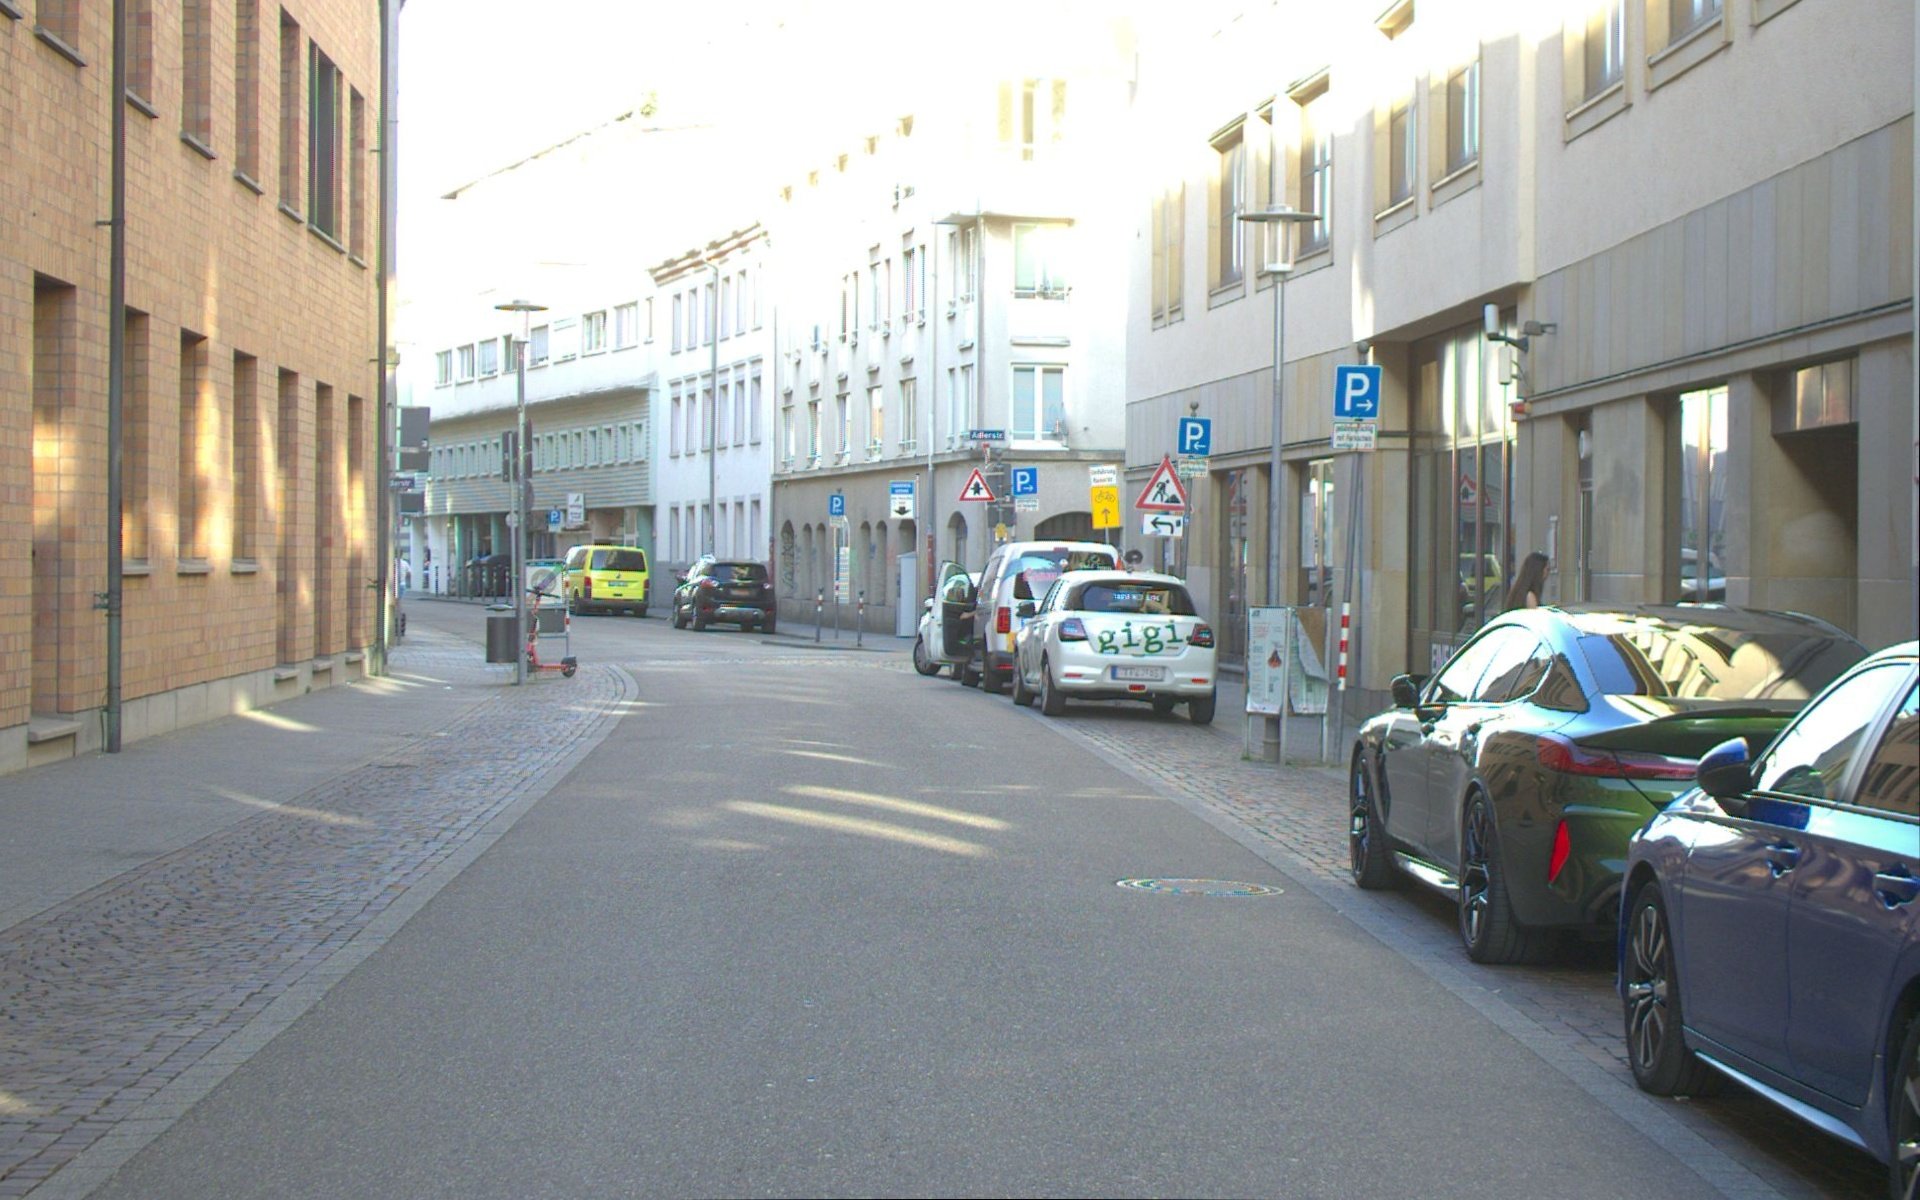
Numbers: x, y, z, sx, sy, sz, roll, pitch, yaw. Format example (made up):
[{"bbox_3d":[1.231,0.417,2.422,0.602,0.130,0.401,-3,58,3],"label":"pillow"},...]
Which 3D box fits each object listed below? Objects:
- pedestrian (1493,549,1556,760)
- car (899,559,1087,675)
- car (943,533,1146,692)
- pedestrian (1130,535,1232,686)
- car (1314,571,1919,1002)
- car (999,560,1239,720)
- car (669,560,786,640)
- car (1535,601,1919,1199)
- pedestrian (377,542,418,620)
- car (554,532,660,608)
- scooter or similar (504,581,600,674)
[{"bbox_3d":[4.472,0.424,27.225,0.481,1.649,0.538,0,1,10],"label":"pedestrian"},{"bbox_3d":[0.410,0.209,48.123,1.888,1.513,4.064,1,1,-10],"label":"car"},{"bbox_3d":[0.961,0.112,42.203,1.830,1.785,5.215,2,0,-6],"label":"car"},{"bbox_3d":[2.678,0.120,41.750,1.042,1.795,1.199,1,0,-5],"label":"pedestrian"},{"bbox_3d":[2.825,0.649,14.847,1.894,1.448,5.226,2,1,-1],"label":"car"},{"bbox_3d":[1.591,0.372,35.929,1.840,1.473,4.169,3,1,-6],"label":"car"},{"bbox_3d":[-5.290,-0.018,77.759,1.967,1.686,4.102,2,1,-13],"label":"car"},{"bbox_3d":[2.886,0.787,8.814,1.807,1.408,4.790,3,1,-2],"label":"car"},{"bbox_3d":[-12.464,-0.431,76.199,0.765,1.718,0.687,1,1,-19],"label":"pedestrian"},{"bbox_3d":[-9.670,-0.833,93.815,2.052,2.007,4.176,0,1,-18],"label":"car"},{"bbox_3d":[-5.445,0.355,45.921,0.698,1.213,1.355,0,1,22],"label":"scooter or similar"}]
